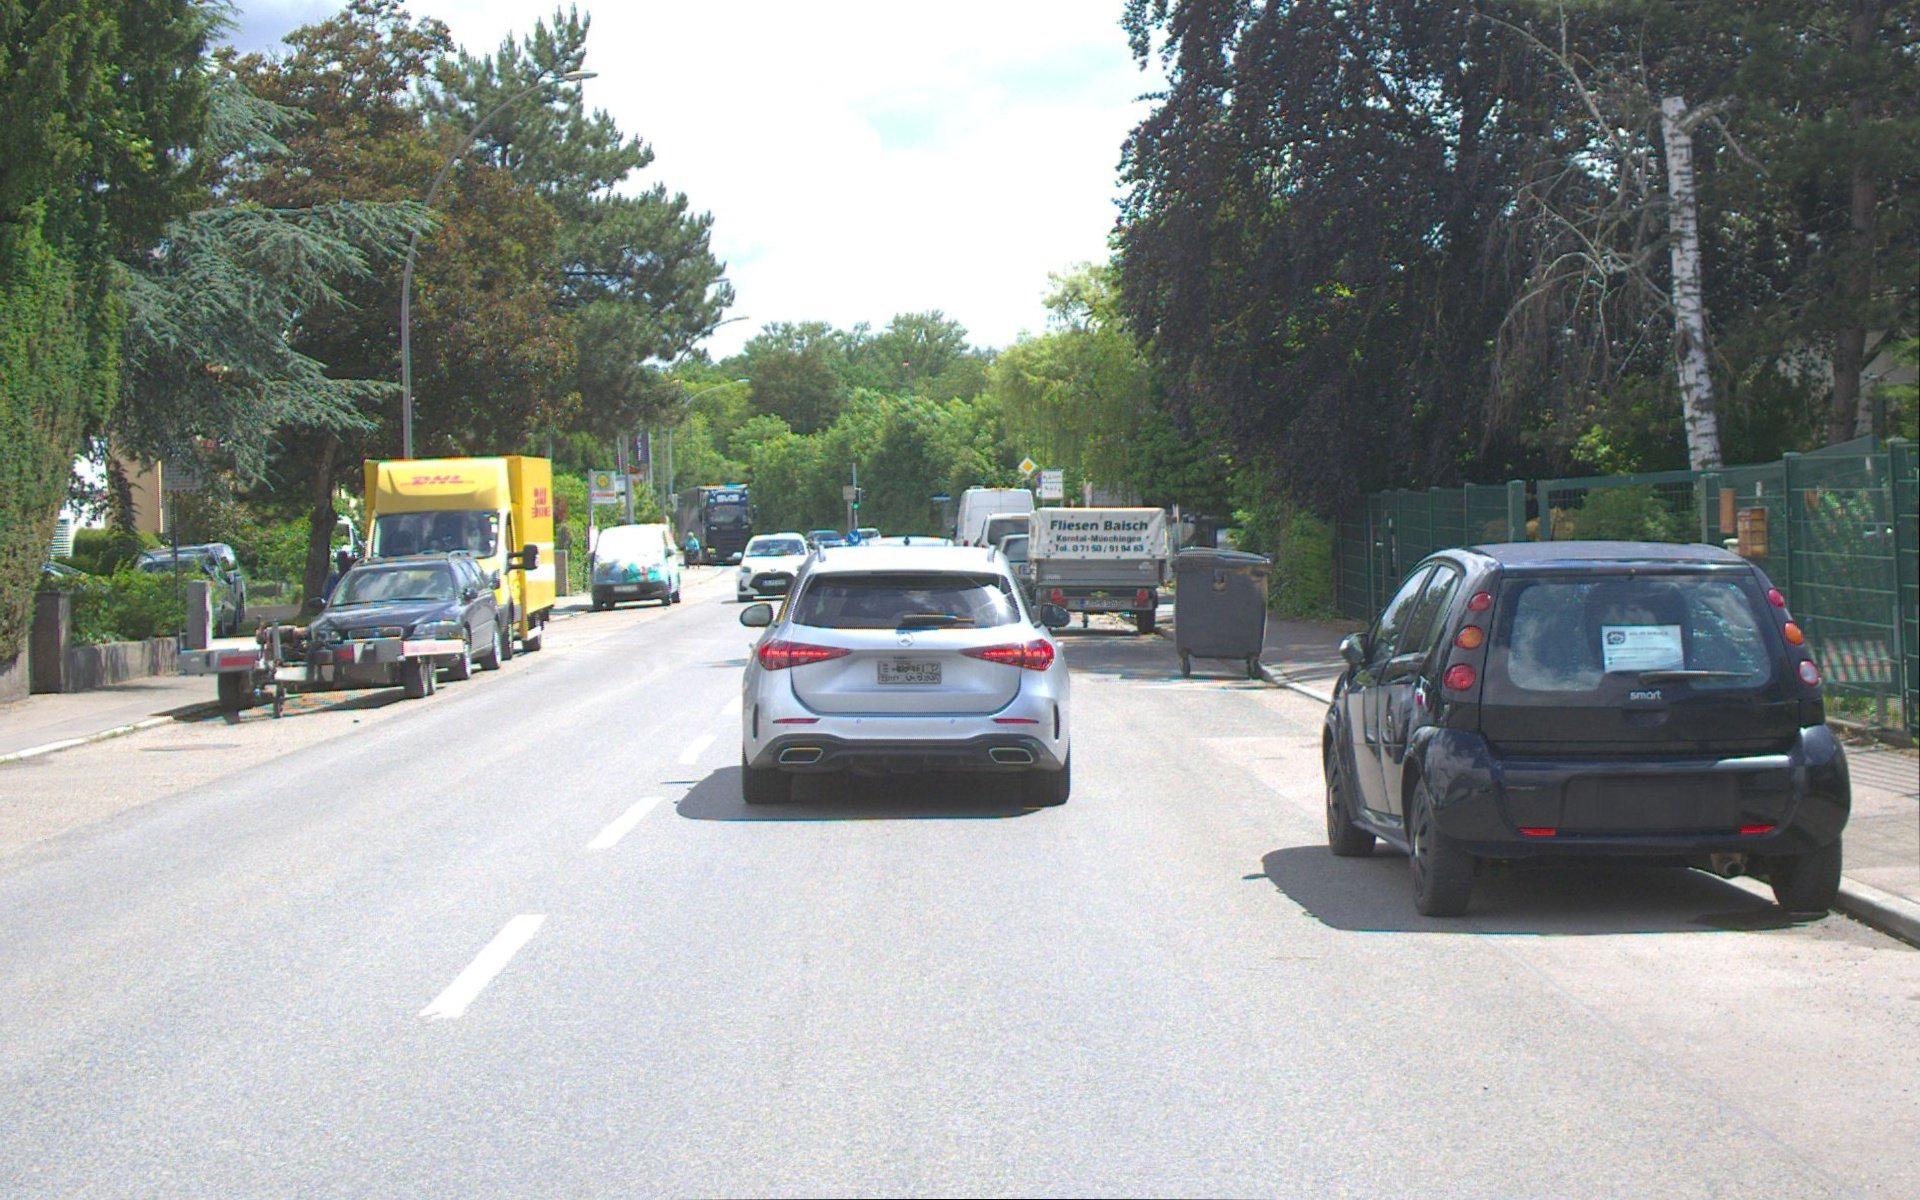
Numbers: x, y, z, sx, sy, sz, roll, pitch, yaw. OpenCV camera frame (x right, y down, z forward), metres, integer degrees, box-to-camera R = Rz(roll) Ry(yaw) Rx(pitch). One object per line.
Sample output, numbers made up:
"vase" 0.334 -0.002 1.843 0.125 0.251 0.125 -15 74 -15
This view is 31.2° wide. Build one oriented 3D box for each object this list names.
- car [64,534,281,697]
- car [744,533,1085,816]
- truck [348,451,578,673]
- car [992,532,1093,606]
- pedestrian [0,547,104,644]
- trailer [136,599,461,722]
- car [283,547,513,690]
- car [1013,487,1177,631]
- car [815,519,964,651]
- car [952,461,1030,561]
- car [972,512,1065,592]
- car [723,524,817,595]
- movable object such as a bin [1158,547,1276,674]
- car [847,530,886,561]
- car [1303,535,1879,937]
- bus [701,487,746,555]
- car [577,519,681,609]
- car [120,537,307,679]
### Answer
"car" -10.342 0.160 45.421 1.993 2.007 4.000 1 1 -1
"car" -0.342 0.366 20.192 1.784 1.479 4.317 0 1 -3
"truck" -6.857 -0.591 48.262 2.075 2.804 7.078 -2 1 0
"car" 1.674 -0.641 71.229 1.784 1.479 4.317 0 1 -3
"pedestrian" -17.816 -0.110 62.737 3.986 1.700 2.000 1 1 -5
"trailer" -6.321 0.538 33.585 2.228 0.921 5.949 -1 1 -2
"car" -6.523 0.170 40.368 2.075 1.473 4.457 -2 1 -2
"car" 1.947 -0.629 51.169 2.144 1.977 5.261 -2 1 -1
"car" -0.923 -0.226 43.050 1.755 1.553 4.001 -1 1 -2
"car" 0.780 -2.275 88.818 1.784 2.510 4.317 0 1 -3
"car" 1.263 -1.059 76.380 1.784 1.709 4.317 0 1 -3
"car" -4.297 -0.951 78.198 1.934 1.487 4.364 -2 1 -1
"movable object such as a bin" 2.655 0.099 35.656 1.084 1.266 1.380 1 1 -1
"car" -4.810 -2.805 176.722 1.755 1.553 4.001 -1 1 -5
"car" 2.543 0.472 14.728 1.689 1.445 3.849 -2 1 -1
"bus" -12.110 -4.050 175.458 1.993 3.352 6.984 1 1 -6
"car" -7.436 -0.838 77.573 1.934 1.912 4.364 -2 1 -1
"car" -11.234 0.083 51.993 1.993 2.007 4.000 1 1 -1
